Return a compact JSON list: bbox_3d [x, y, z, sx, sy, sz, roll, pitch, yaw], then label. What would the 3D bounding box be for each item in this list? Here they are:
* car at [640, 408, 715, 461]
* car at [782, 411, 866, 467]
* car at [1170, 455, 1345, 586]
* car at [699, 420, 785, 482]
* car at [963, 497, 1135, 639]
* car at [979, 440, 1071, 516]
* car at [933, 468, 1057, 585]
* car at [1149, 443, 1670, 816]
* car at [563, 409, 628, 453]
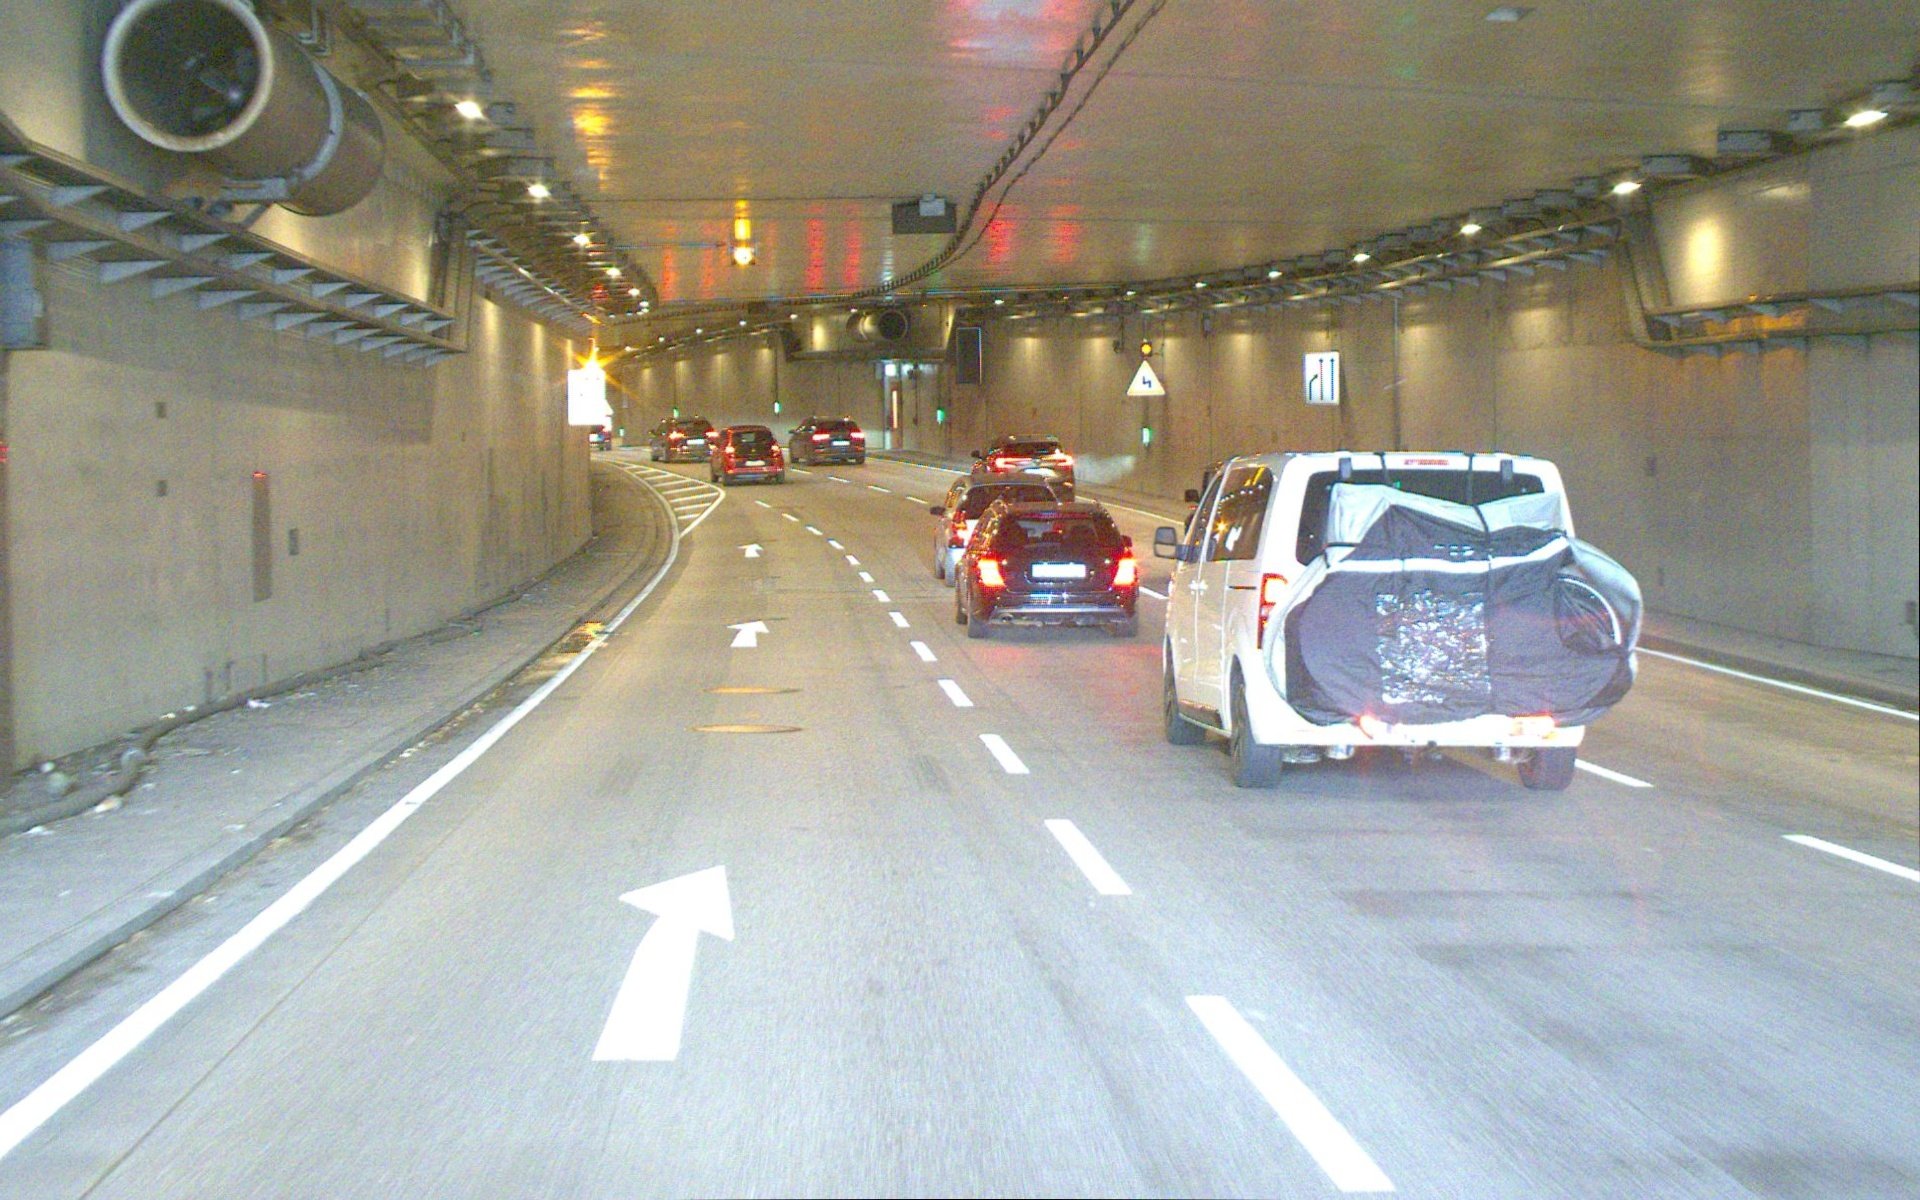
[{"bbox_3d":[-8.975,-5.220,108.980,1.822,1.624,3.845,0,2,-13],"label":"car"},{"bbox_3d":[-4.084,-4.784,102.728,1.822,1.624,3.845,0,2,-13],"label":"car"},{"bbox_3d":[4.136,-1.129,48.392,1.872,1.755,4.001,0,2,-3],"label":"car"},{"bbox_3d":[-5.891,-4.002,92.484,1.822,1.624,3.845,0,2,-11],"label":"car"},{"bbox_3d":[0.892,-0.368,35.984,1.602,1.390,3.278,0,2,-2],"label":"car"},{"bbox_3d":[1.395,-2.676,75.351,1.602,1.624,3.357,0,2,-6],"label":"car"},{"bbox_3d":[0.461,-1.056,48.493,1.602,1.588,3.356,0,2,-2],"label":"car"},{"bbox_3d":[2.394,0.073,19.828,1.993,1.841,5.302,1,2,-3],"label":"car"},{"bbox_3d":[-14.019,-6.496,132.091,1.822,1.624,3.845,0,2,-17],"label":"car"}]
